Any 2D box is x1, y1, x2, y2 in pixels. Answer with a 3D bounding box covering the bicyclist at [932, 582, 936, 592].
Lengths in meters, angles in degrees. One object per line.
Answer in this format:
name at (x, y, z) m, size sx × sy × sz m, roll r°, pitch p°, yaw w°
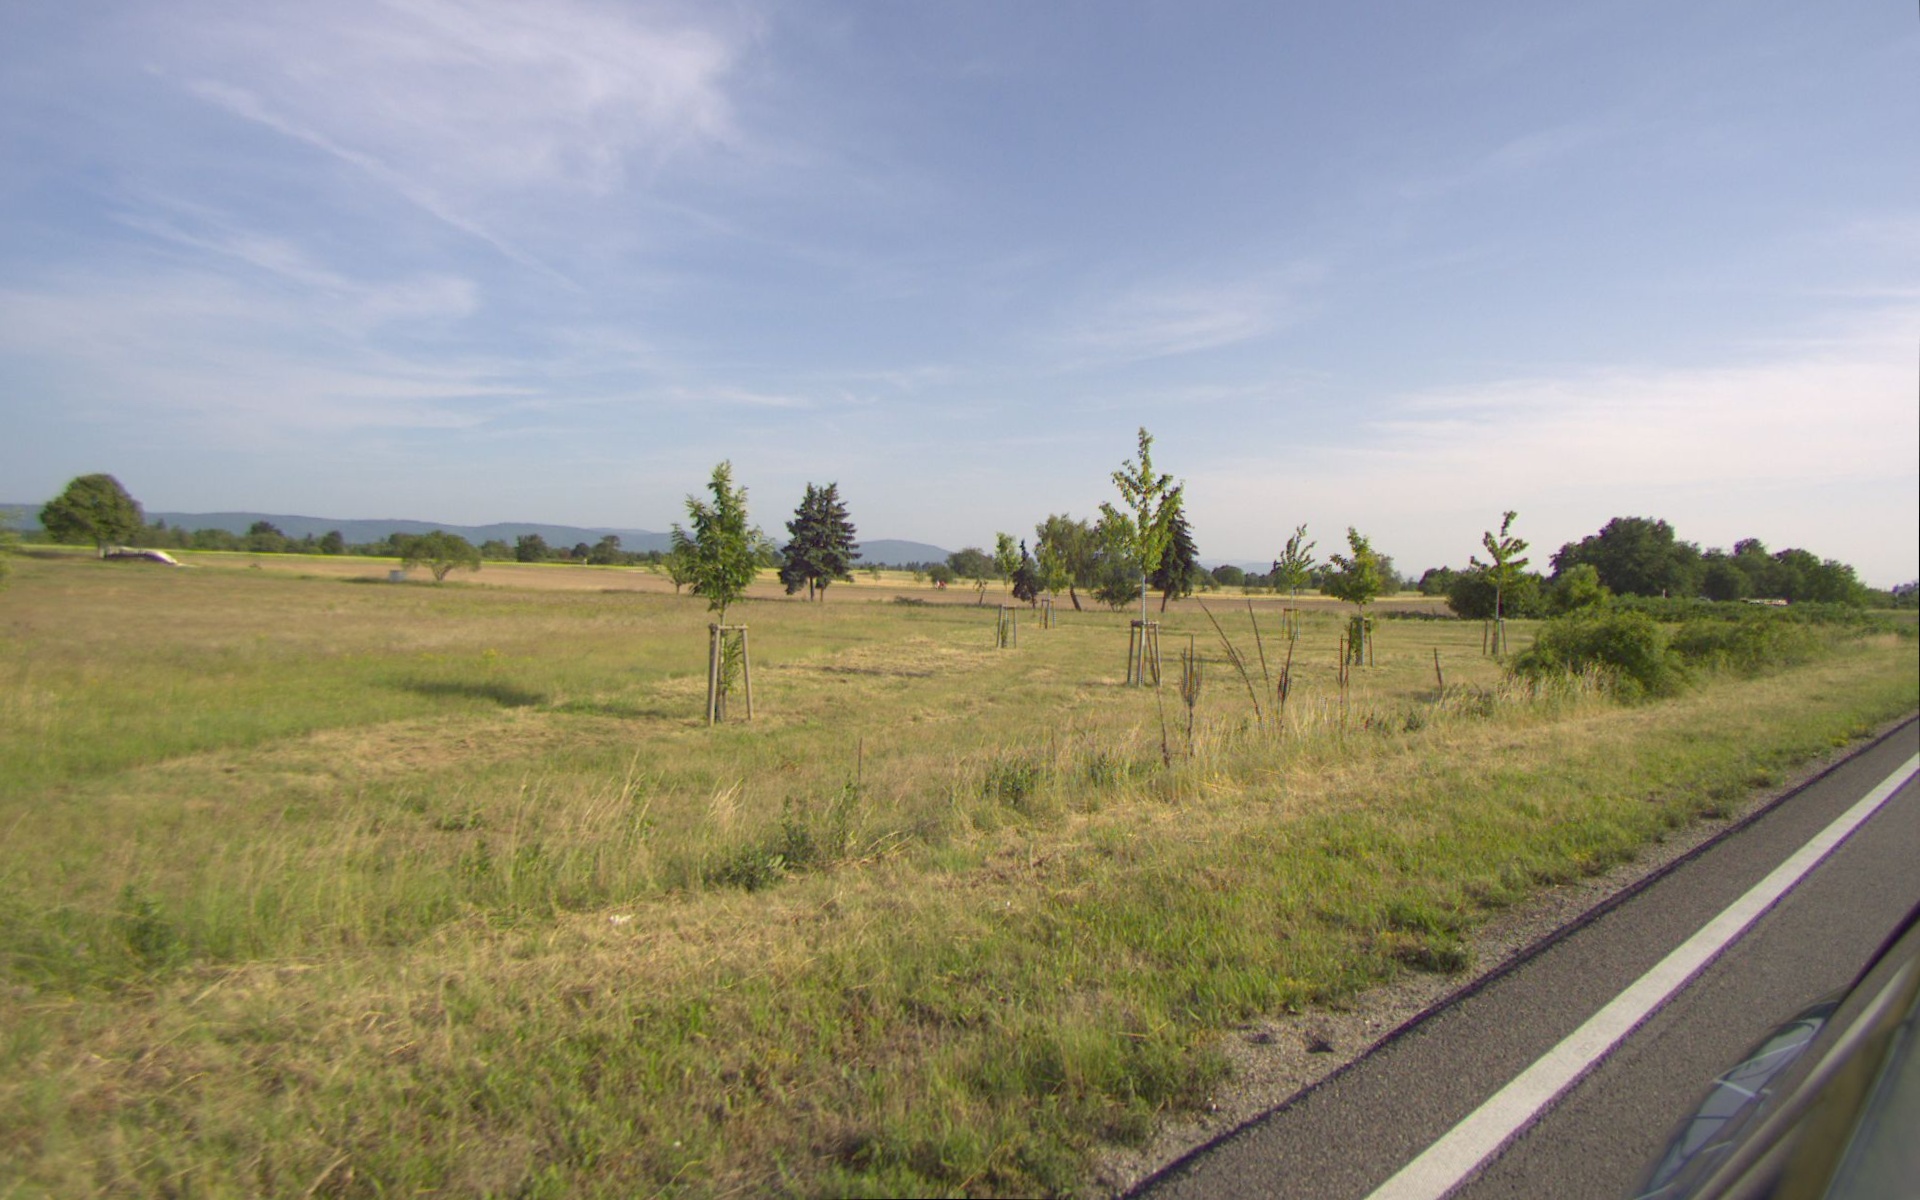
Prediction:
bicyclist at (-4.403, -2.188, 170.875) m, size 0.540 × 1.617 × 0.487 m, roll 0°, pitch 0°, yaw 2°
